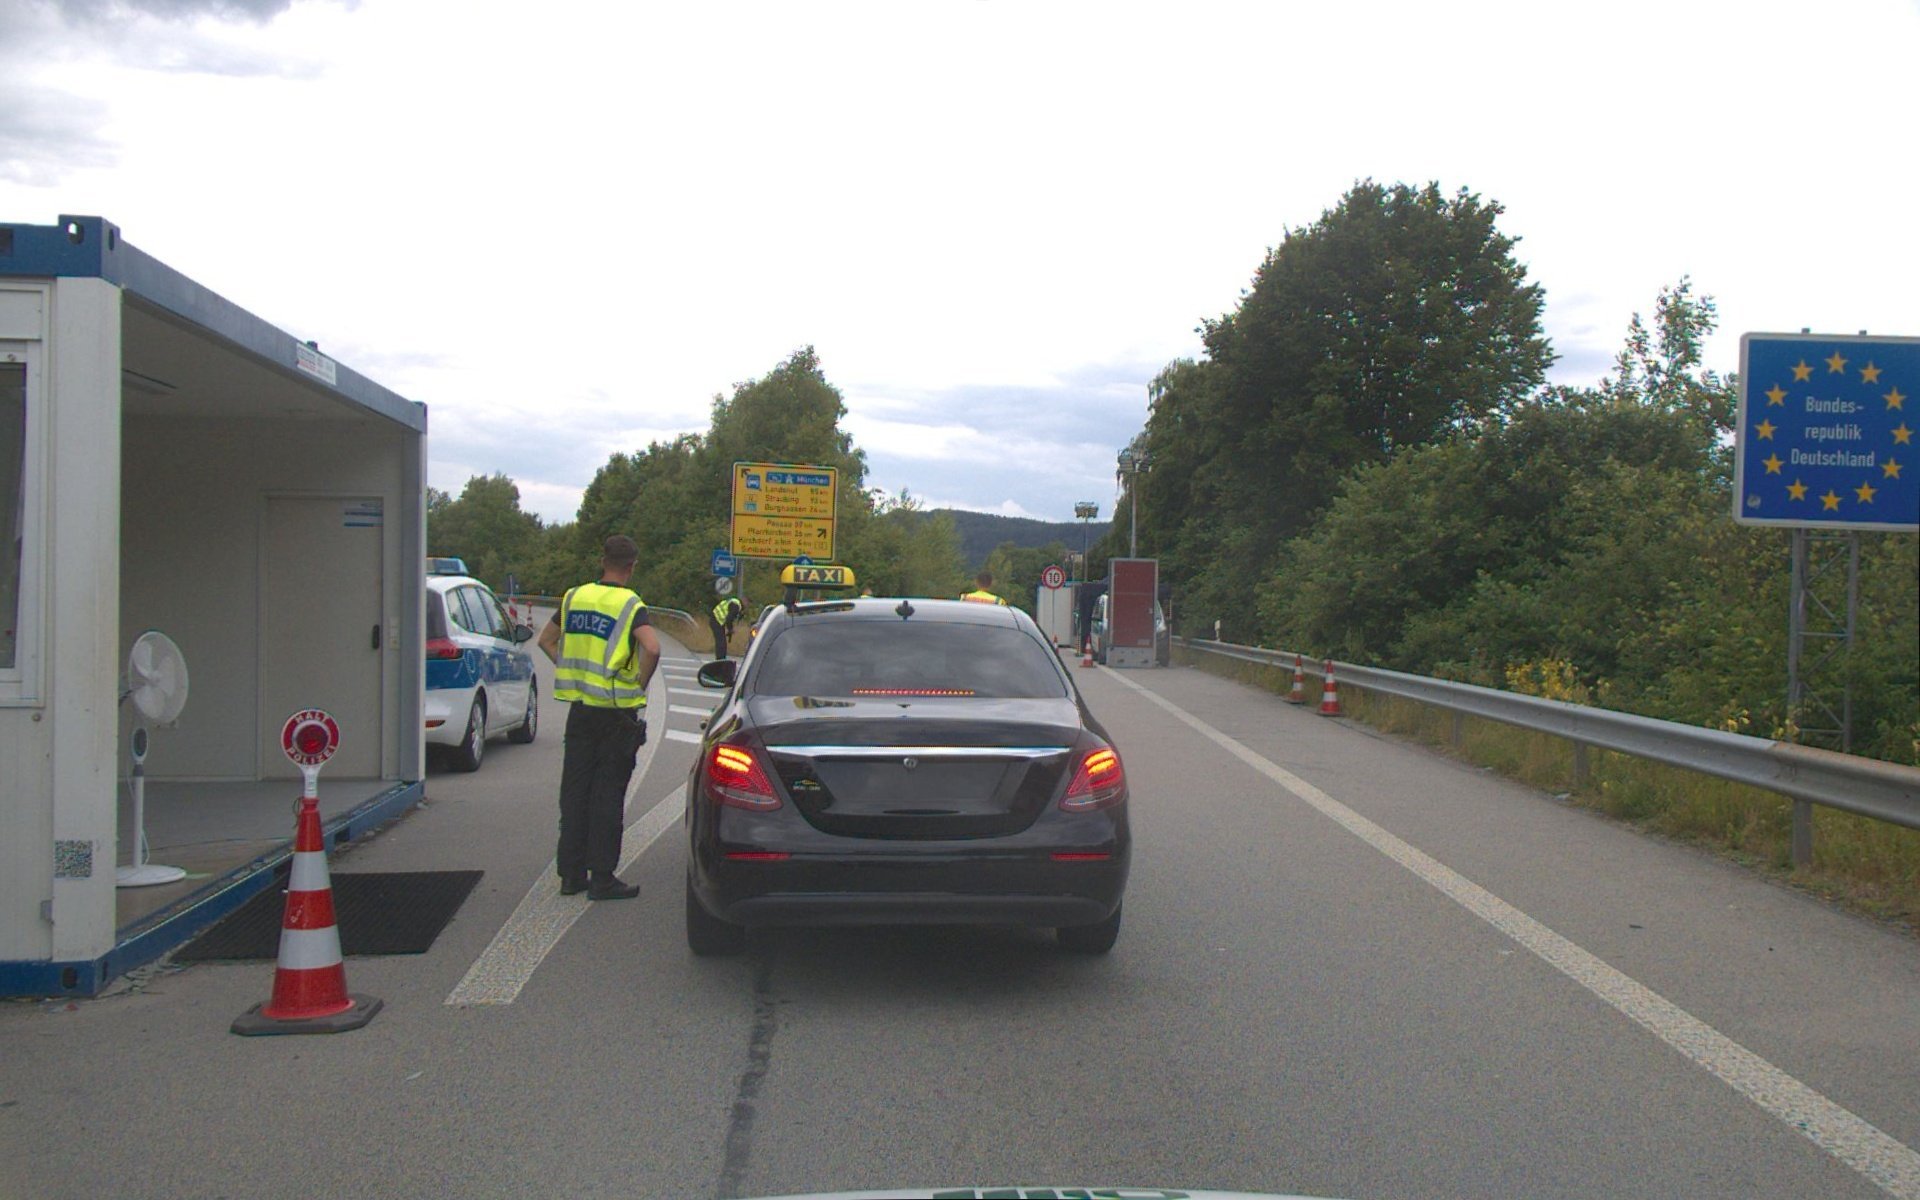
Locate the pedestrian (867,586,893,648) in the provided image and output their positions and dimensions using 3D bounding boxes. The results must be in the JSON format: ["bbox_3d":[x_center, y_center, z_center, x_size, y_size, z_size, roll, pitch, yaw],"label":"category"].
[{"bbox_3d":[-2.622,0.548,54.119,0.650,1.995,0.760,0,0,15],"label":"pedestrian"}]

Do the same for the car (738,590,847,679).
[{"bbox_3d":[-3.044,0.596,30.755,1.818,1.524,4.253,1,0,-4],"label":"car"}]

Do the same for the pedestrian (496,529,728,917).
[{"bbox_3d":[-1.678,0.555,8.017,0.747,1.748,0.815,0,0,36],"label":"pedestrian"}]

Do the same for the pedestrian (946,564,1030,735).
[{"bbox_3d":[0.323,0.539,18.460,0.795,1.862,0.810,0,0,12],"label":"pedestrian"}]

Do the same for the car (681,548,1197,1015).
[{"bbox_3d":[-0.262,0.633,8.030,1.819,1.623,4.370,1,0,-5],"label":"car"}]

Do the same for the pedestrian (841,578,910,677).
[{"bbox_3d":[-1.518,0.482,29.543,0.900,1.727,0.903,1,-1,-32],"label":"pedestrian"}]

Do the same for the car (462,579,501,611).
[{"bbox_3d":[-24.208,-0.260,83.787,1.824,1.524,4.239,1,0,-15],"label":"car"}]

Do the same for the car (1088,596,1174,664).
[{"bbox_3d":[4.679,0.782,45.884,1.877,1.707,5.083,2,0,1],"label":"car"}]

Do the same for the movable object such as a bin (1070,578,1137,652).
[{"bbox_3d":[4.709,0.467,54.729,1.952,2.320,4.168,1,0,1],"label":"movable object such as a bin"}]

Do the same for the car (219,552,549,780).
[{"bbox_3d":[-4.991,0.514,14.931,1.832,1.774,4.004,1,0,-5],"label":"car"}]

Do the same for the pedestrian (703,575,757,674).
[{"bbox_3d":[-4.252,0.441,30.602,0.893,1.800,0.911,1,0,-4],"label":"pedestrian"}]
